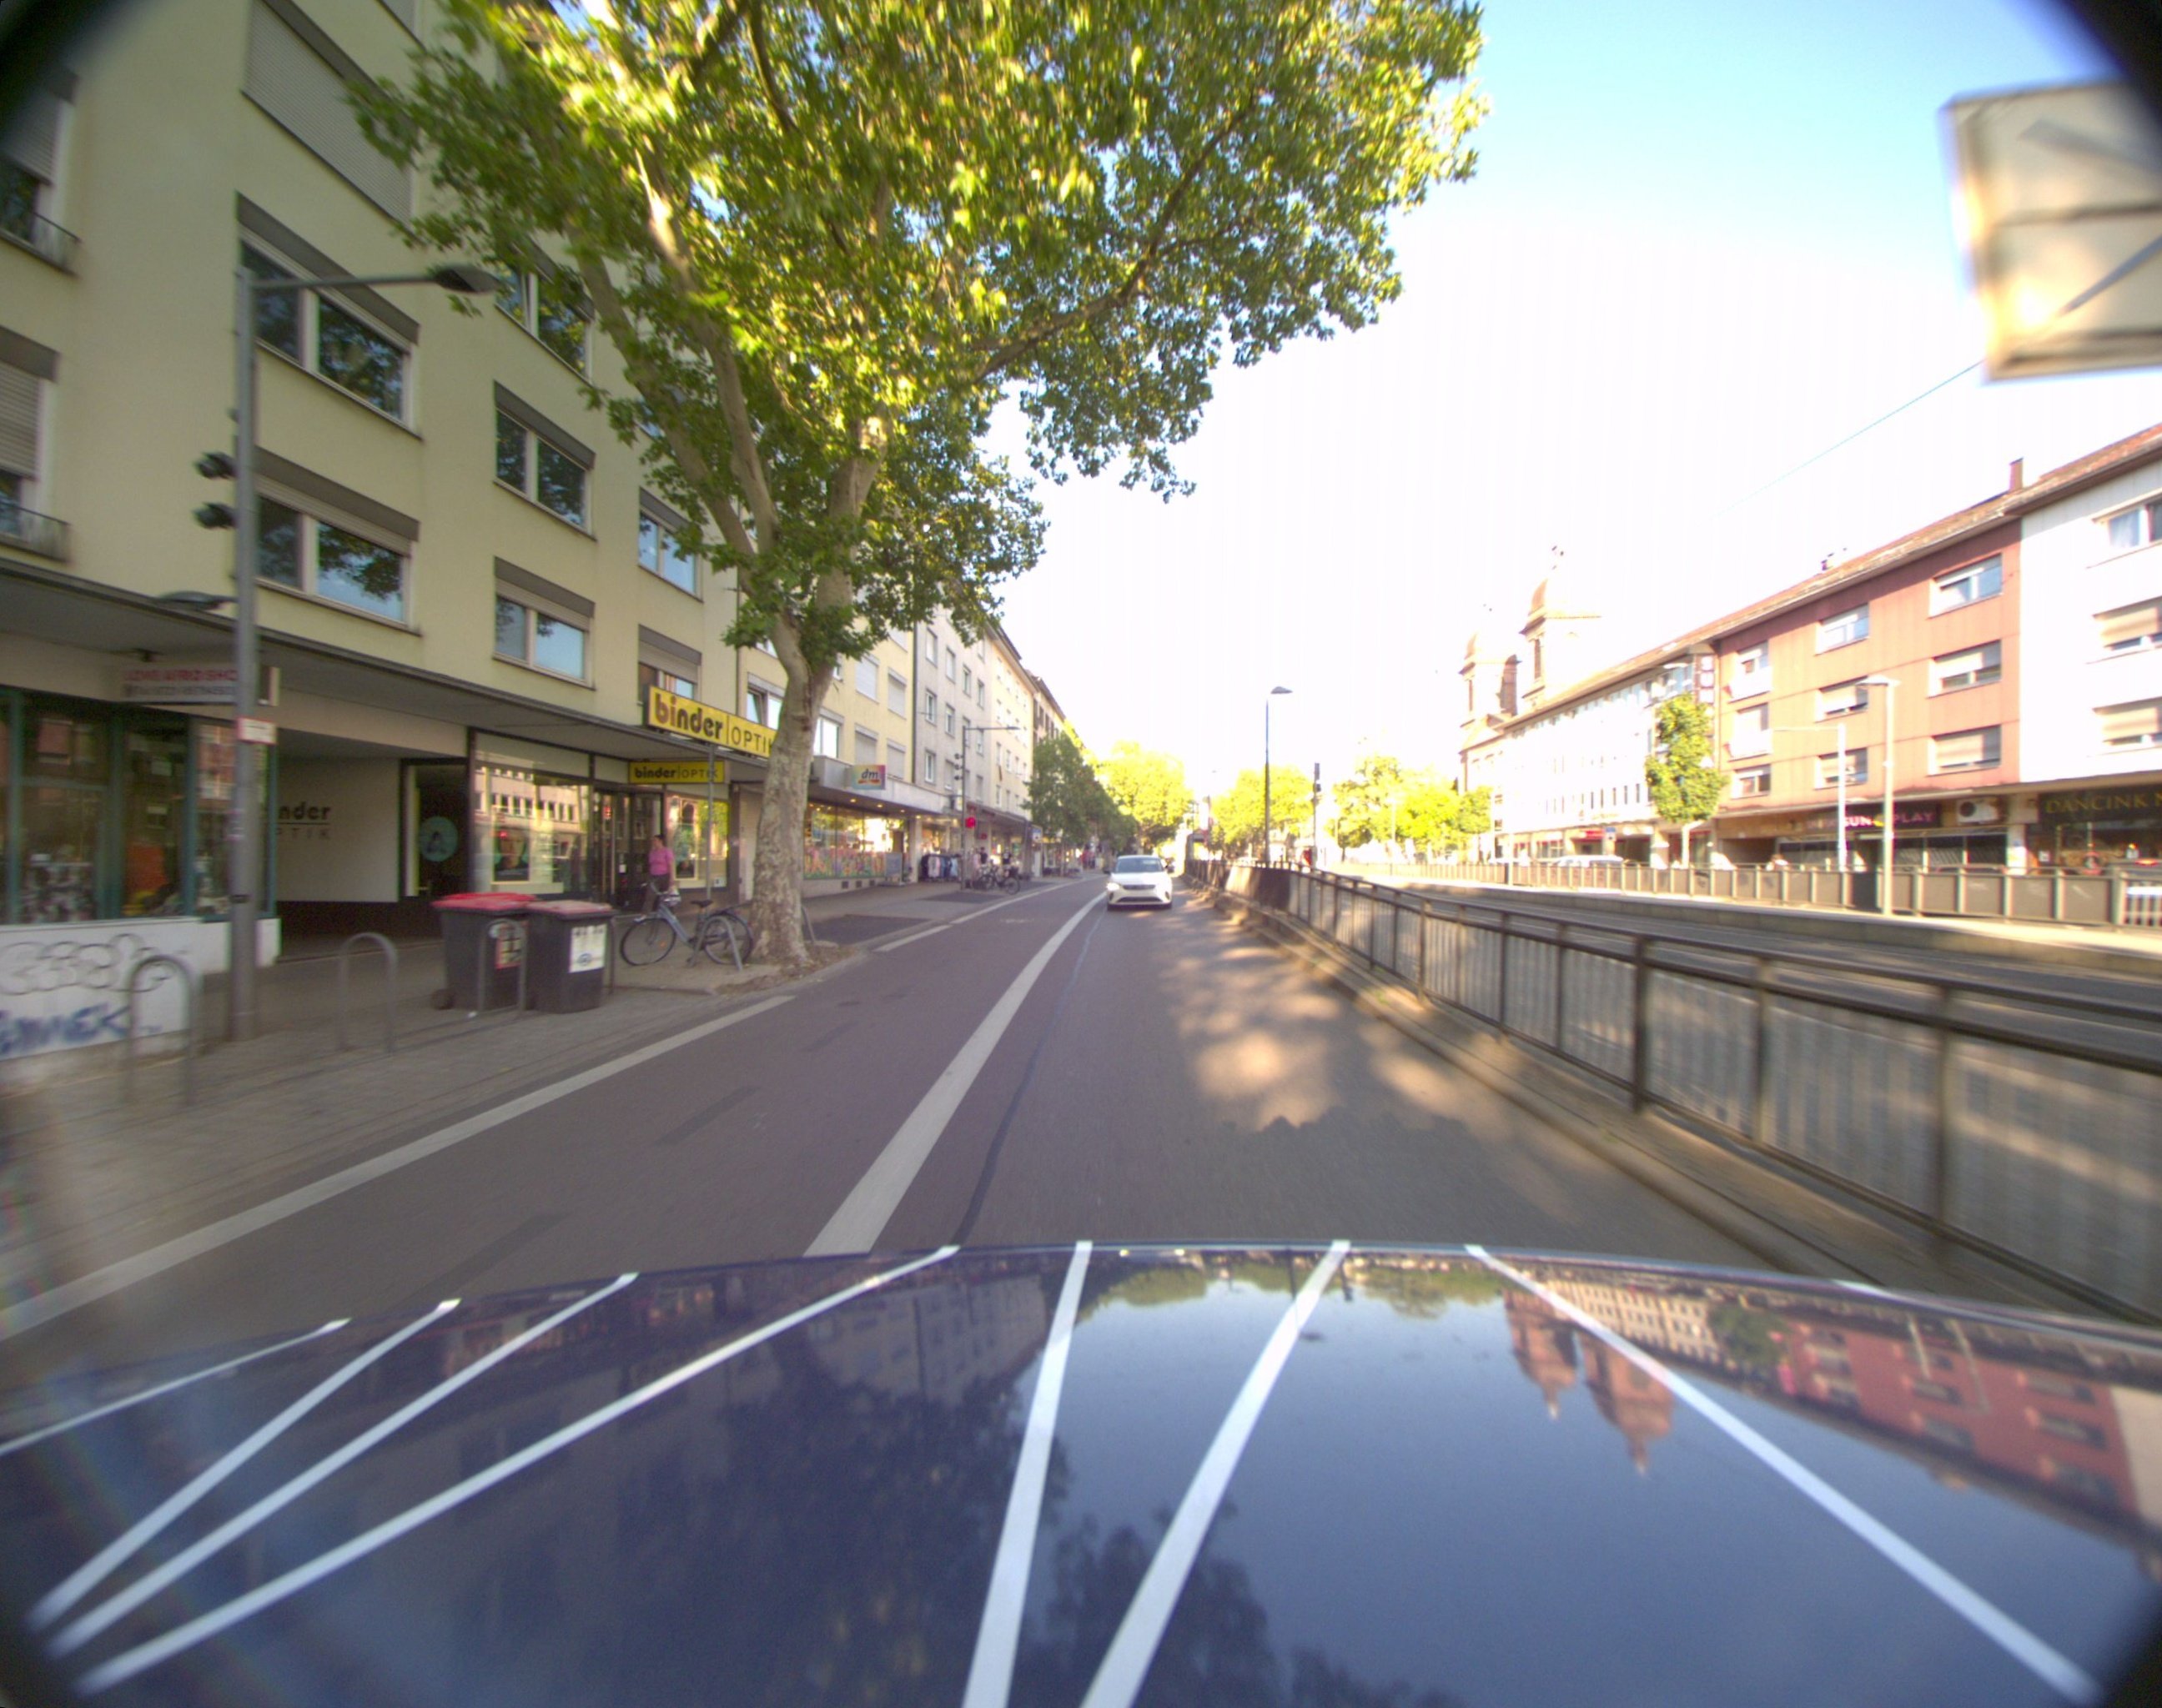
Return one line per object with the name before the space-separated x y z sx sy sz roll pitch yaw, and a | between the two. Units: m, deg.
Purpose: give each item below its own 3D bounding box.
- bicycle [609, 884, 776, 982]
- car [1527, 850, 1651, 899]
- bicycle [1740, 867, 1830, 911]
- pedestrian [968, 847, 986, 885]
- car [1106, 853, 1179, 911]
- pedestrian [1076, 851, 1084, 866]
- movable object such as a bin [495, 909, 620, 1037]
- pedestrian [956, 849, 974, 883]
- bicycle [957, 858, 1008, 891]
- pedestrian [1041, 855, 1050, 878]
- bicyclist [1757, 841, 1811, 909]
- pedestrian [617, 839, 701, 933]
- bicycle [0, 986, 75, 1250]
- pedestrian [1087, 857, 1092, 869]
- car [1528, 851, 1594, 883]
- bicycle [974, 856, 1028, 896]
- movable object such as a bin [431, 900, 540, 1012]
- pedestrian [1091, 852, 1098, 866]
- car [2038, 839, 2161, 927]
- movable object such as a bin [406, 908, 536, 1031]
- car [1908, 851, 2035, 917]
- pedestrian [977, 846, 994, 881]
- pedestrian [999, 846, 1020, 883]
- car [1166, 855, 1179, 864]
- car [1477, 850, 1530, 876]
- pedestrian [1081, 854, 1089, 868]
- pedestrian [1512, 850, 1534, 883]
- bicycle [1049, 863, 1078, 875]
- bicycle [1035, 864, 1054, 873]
bicycle | -4.909 0.976 9.681 1.721 1.111 0.745 0 4 6
car | 19.335 0.724 29.190 1.998 1.707 4.437 0 0 4
bicycle | 21.229 1.028 22.973 0.719 1.223 2.279 1 0 5
pedestrian | -4.556 0.535 33.266 0.547 1.619 0.896 2 0 6
car | 1.689 0.718 21.117 1.826 1.433 3.829 -1 0 4
pedestrian | -0.092 0.526 89.060 0.851 1.645 0.916 -2 1 6
movable object such as a bin | -5.128 1.138 7.467 0.723 1.096 0.644 4 2 12
pedestrian | -5.204 0.532 34.078 0.542 1.493 0.896 2 0 6
bicycle | -3.878 0.809 29.818 1.795 1.118 0.663 5 1 -21
pedestrian | -2.525 0.892 53.581 0.490 1.559 0.648 2 1 7
bicyclist | 21.228 0.625 22.957 0.765 2.002 0.911 1 1 4
pedestrian | -8.276 0.592 14.954 0.969 1.753 1.134 1 2 6
bicycle | -5.719 1.169 3.508 1.910 1.098 0.518 2 1 12
pedestrian | 1.119 1.188 101.297 0.634 1.645 0.651 -2 1 6
car | 26.127 0.692 41.305 4.007 1.521 1.865 -2 1 -39
bicycle | -3.016 0.823 28.804 1.788 1.304 0.694 6 1 17
movable object such as a bin | -6.366 1.062 8.138 0.722 1.066 0.645 2 1 24
pedestrian | 1.701 0.621 94.718 0.693 1.665 0.659 2 1 6
car | 24.335 0.618 17.803 1.859 1.789 3.777 -2 1 44
movable object such as a bin | -5.975 1.111 7.475 0.724 1.066 0.644 3 1 3
car | 24.047 0.760 20.666 1.859 1.482 3.777 -2 1 44
pedestrian | -4.738 0.454 37.695 0.569 1.665 1.070 2 1 6
pedestrian | -3.575 0.519 37.895 0.774 1.789 0.931 3 0 7
car | 15.142 0.851 126.018 1.718 1.390 4.000 -2 0 2
car | 26.996 0.540 48.494 4.007 1.477 1.739 -2 1 -42
pedestrian | 0.527 0.902 96.273 0.851 1.645 0.916 -2 1 6
pedestrian | 24.044 0.660 41.309 0.726 1.777 0.766 -3 1 -37
bicycle | -1.137 0.975 50.038 1.762 0.773 0.702 1 0 -17
bicycle | -2.399 0.975 50.186 0.840 0.569 1.758 1 0 -17
